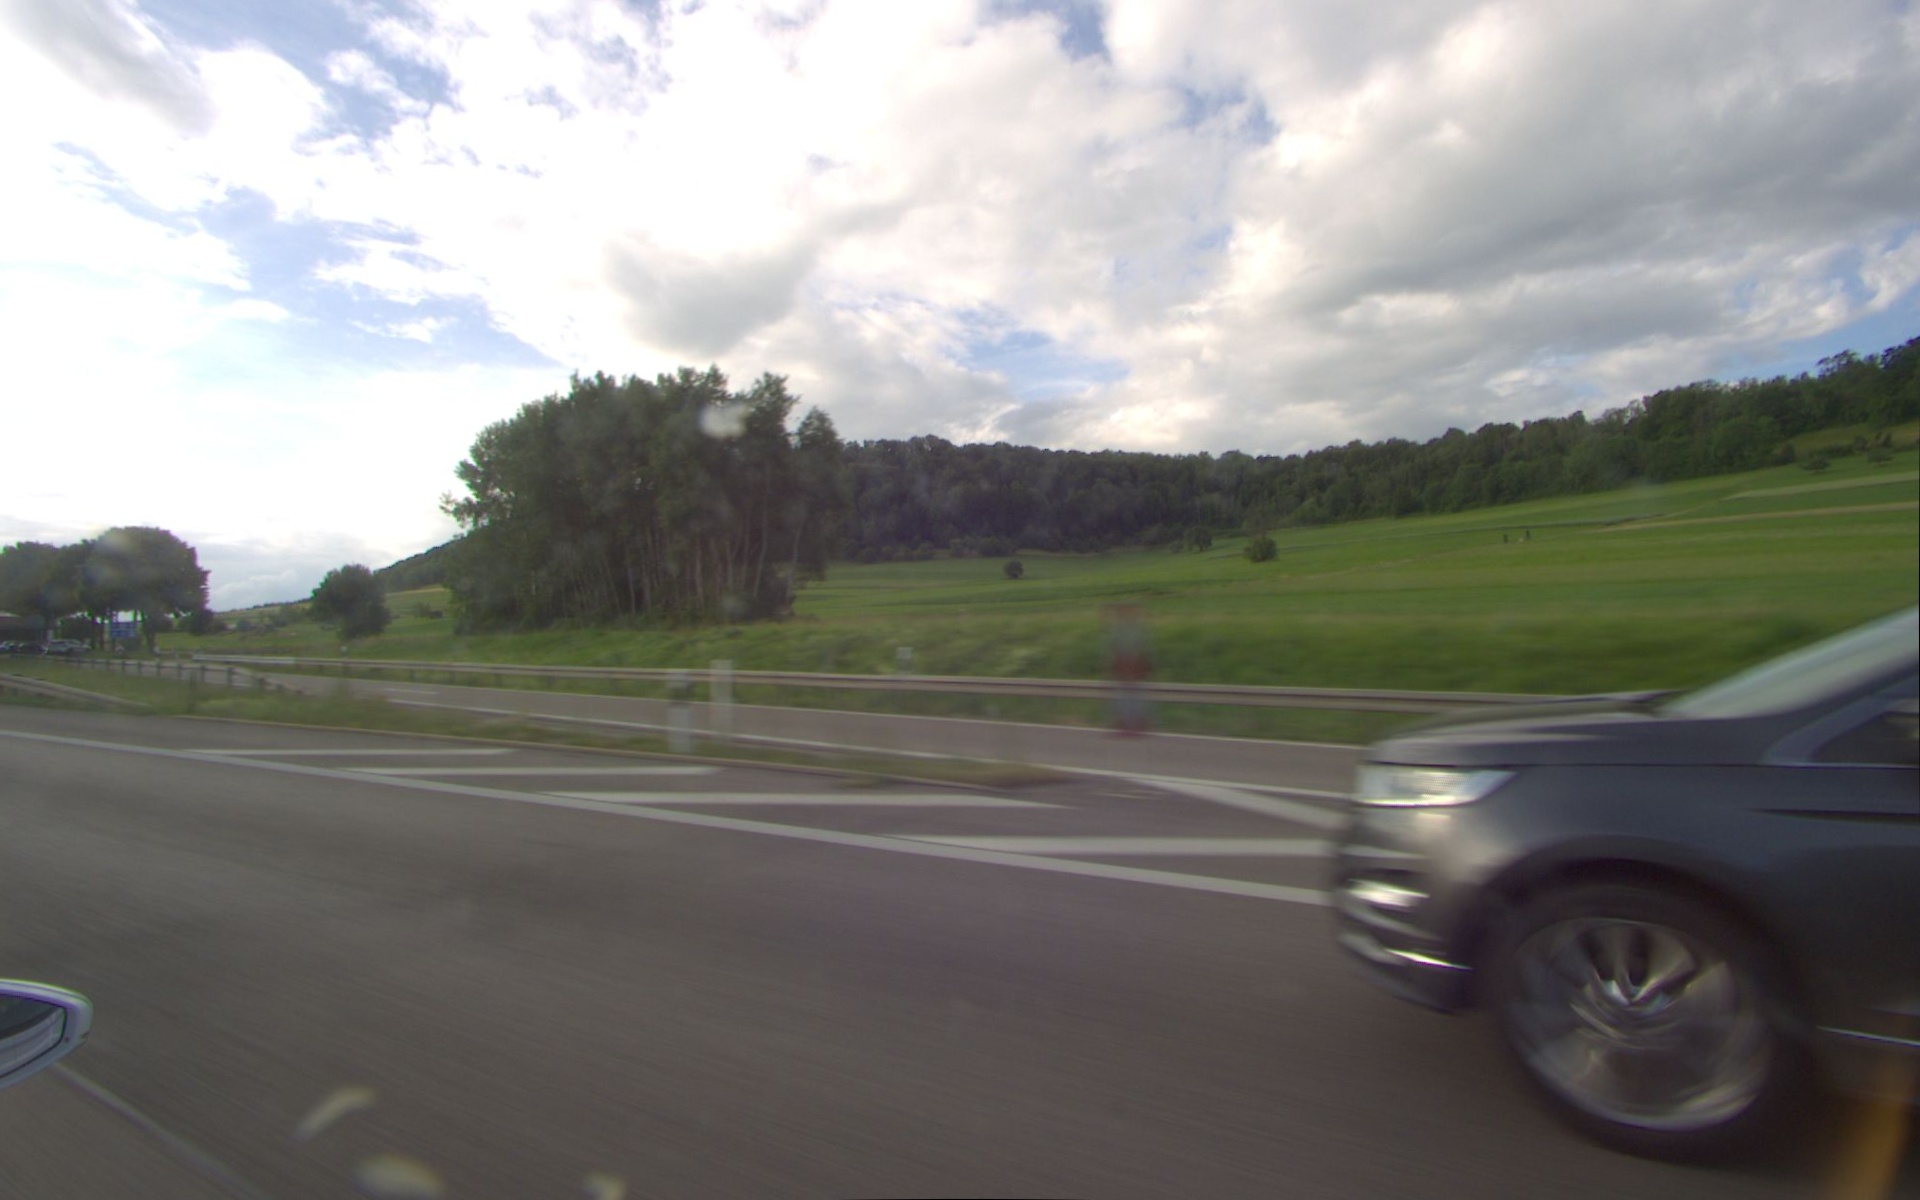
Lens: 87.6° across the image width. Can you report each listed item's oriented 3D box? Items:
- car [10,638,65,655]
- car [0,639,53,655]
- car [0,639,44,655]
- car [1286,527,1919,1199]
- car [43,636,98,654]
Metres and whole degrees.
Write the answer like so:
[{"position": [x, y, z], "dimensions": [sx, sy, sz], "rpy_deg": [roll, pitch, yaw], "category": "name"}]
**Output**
[{"position": [-93.062, 4.642, 101.110], "dimensions": [1.952, 1.575, 4.309], "rpy_deg": [-2, -1, -8], "category": "car"}, {"position": [-98.481, 4.932, 105.739], "dimensions": [1.952, 1.575, 4.309], "rpy_deg": [-2, -1, -8], "category": "car"}, {"position": [-101.650, 5.091, 108.101], "dimensions": [1.952, 1.575, 4.309], "rpy_deg": [-2, -1, -8], "category": "car"}, {"position": [3.354, 0.659, 2.712], "dimensions": [4.417, 1.674, 1.783], "rpy_deg": [-1, 0, 32], "category": "car"}, {"position": [-87.098, 4.378, 98.117], "dimensions": [1.952, 1.575, 4.309], "rpy_deg": [-2, -1, -8], "category": "car"}]
